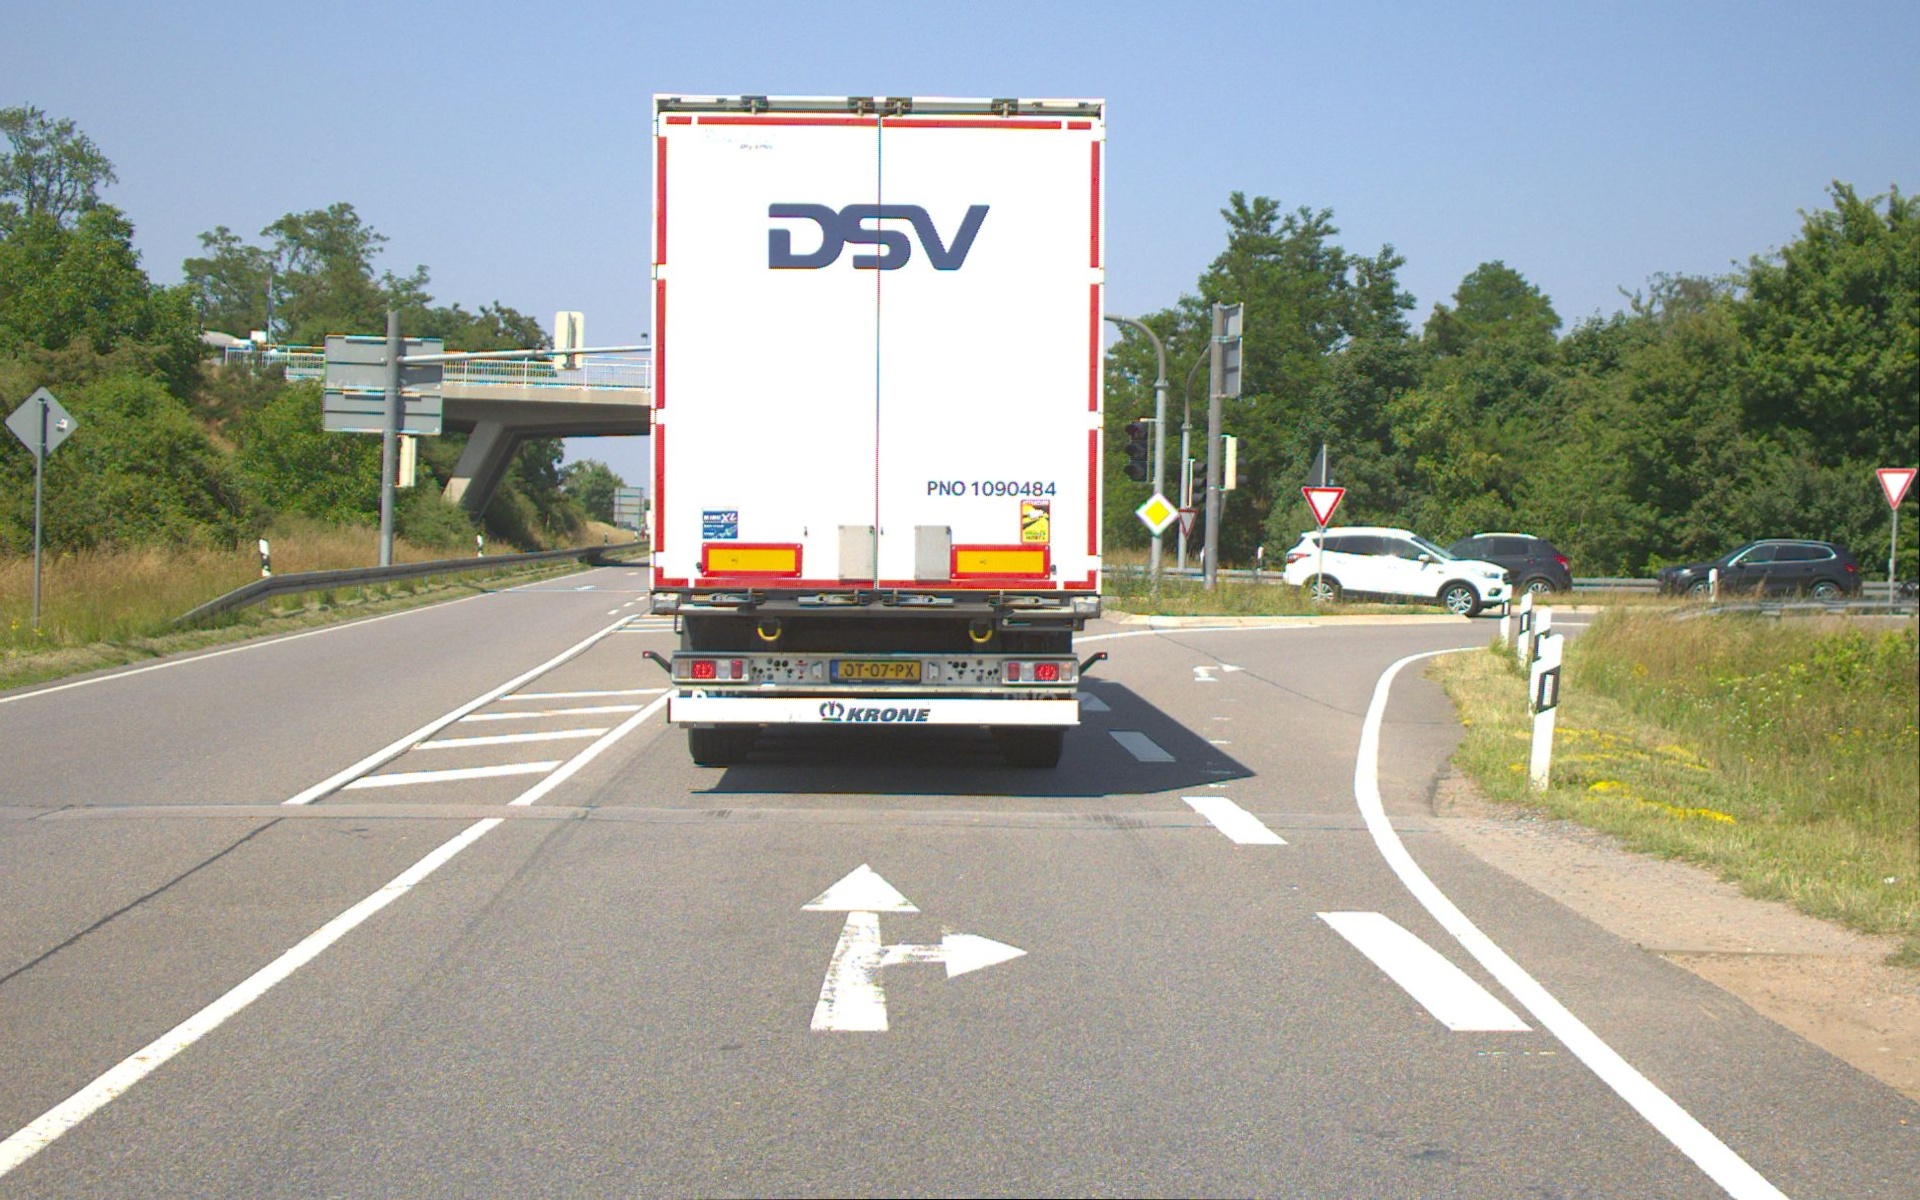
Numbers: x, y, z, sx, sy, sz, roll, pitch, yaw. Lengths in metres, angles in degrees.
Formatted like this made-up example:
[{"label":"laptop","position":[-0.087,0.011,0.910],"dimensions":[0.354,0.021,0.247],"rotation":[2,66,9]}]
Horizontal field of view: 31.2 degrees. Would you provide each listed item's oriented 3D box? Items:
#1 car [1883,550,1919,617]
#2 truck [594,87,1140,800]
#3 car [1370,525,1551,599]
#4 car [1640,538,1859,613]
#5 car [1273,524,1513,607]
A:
[{"label":"car","position":[23.514,-0.345,78.093],"dimensions":[4.683,1.508,1.853],"rotation":[1,0,7]},{"label":"truck","position":[-0.611,-0.948,24.086],"dimensions":[2.987,3.928,9.876],"rotation":[1,1,-1]},{"label":"car","position":[11.426,-0.873,78.745],"dimensions":[3.986,1.634,1.841],"rotation":[1,0,5]},{"label":"car","position":[17.588,-0.548,76.704],"dimensions":[4.486,1.592,1.767],"rotation":[1,0,2]},{"label":"car","position":[8.571,-0.691,67.970],"dimensions":[4.472,1.561,1.738],"rotation":[1,1,17]}]
